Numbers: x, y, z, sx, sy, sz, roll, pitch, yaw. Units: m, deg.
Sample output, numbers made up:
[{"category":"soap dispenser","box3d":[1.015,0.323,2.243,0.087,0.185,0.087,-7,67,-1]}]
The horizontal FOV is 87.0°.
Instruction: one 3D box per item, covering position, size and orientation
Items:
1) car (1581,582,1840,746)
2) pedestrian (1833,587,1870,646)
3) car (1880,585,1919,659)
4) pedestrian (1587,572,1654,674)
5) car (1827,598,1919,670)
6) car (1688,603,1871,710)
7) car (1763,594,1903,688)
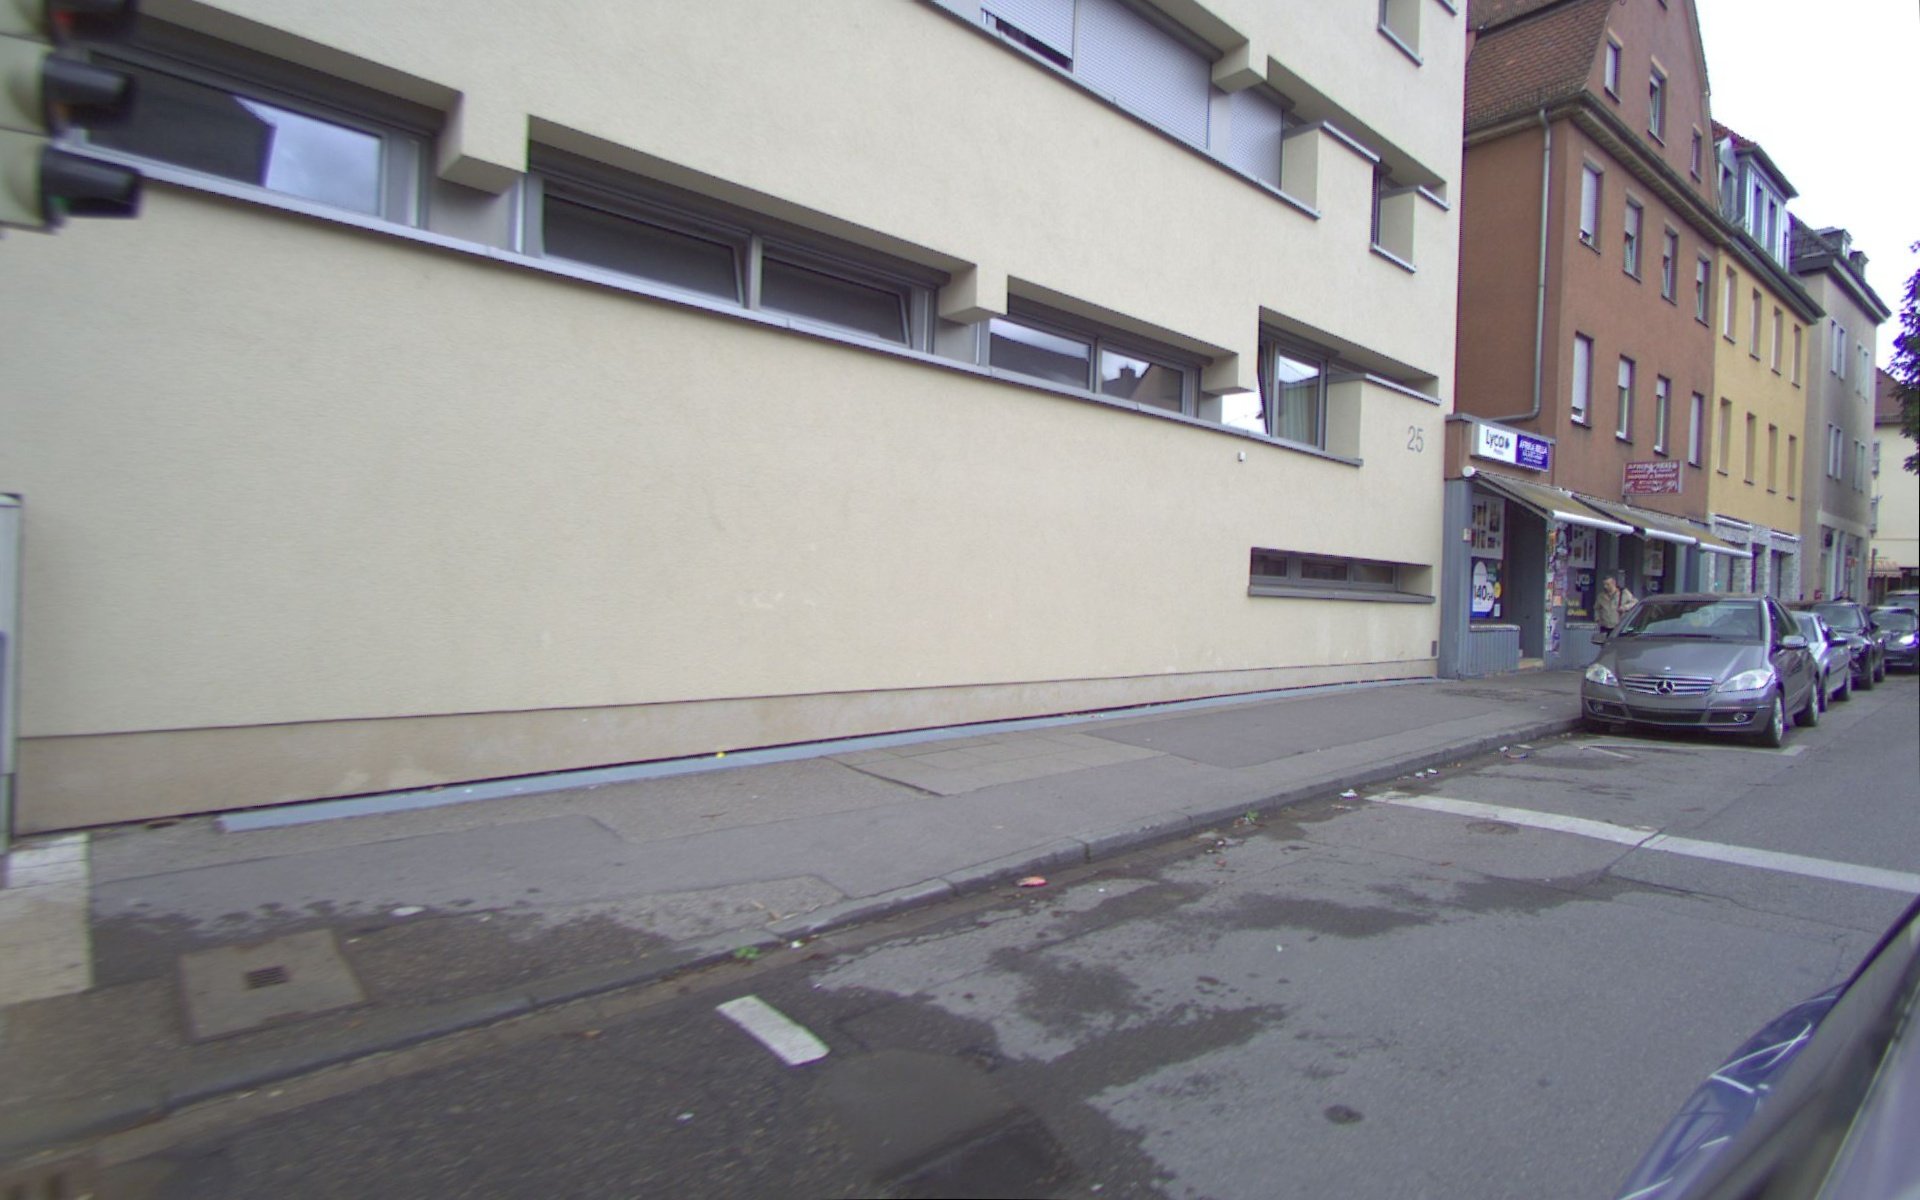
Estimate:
[{"category":"car","box3d":[8.784,0.617,11.736,3.721,1.580,1.714,0,1,-42]},{"category":"pedestrian","box3d":[26.151,0.467,29.680,0.965,1.673,0.616,1,2,-42]},{"category":"car","box3d":[24.985,0.543,25.863,4.328,1.803,1.822,0,1,-43]},{"category":"pedestrian","box3d":[11.358,0.382,17.403,0.873,1.669,0.702,1,1,-42]},{"category":"car","box3d":[21.153,0.726,22.799,4.431,1.423,1.755,0,2,-41]},{"category":"car","box3d":[12.212,0.744,15.000,3.747,1.350,1.553,0,1,-42]},{"category":"car","box3d":[16.263,0.682,18.788,4.139,1.537,1.603,0,0,-44]}]
